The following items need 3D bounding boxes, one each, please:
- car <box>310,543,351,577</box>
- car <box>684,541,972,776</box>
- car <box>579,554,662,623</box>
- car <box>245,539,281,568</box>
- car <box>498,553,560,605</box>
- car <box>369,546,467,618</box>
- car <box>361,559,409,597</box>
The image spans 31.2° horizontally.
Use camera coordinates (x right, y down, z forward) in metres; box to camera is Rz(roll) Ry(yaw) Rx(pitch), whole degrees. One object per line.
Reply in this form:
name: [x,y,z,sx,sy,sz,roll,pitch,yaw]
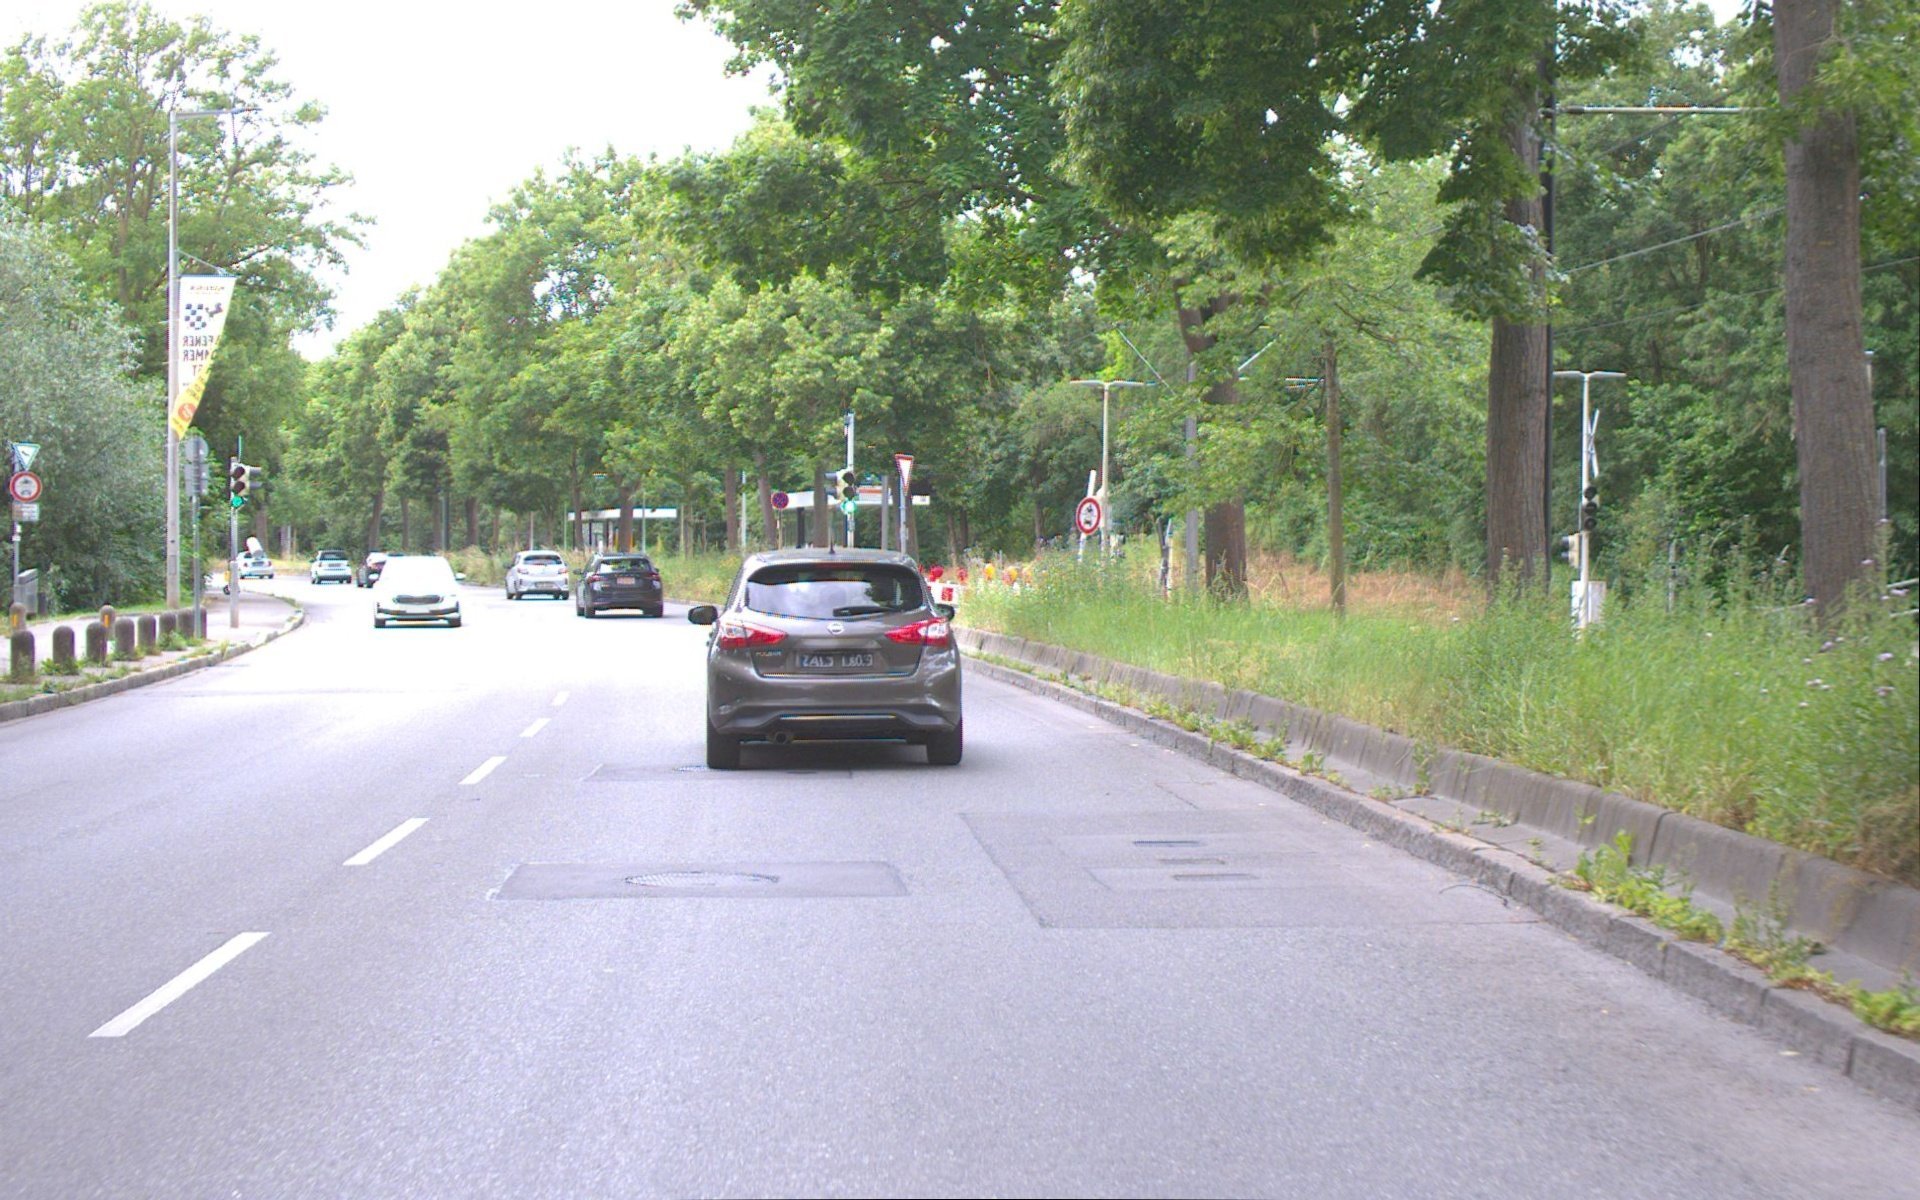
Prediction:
car: [-28.978,-1.856,158.295,1.775,1.467,4.001,1,1,-10]
car: [-0.876,0.359,25.014,1.816,1.503,4.000,0,2,2]
car: [-7.762,-0.291,78.421,1.775,1.467,4.001,2,1,-6]
car: [-36.281,-2.430,179.018,1.775,1.467,4.001,2,1,-11]
car: [-13.137,-0.652,104.882,1.775,1.467,4.001,2,1,-7]
car: [-11.267,-0.390,71.695,1.773,1.434,4.362,-1,1,-6]
car: [-23.692,-0.930,141.724,1.775,1.467,4.001,3,0,-8]
